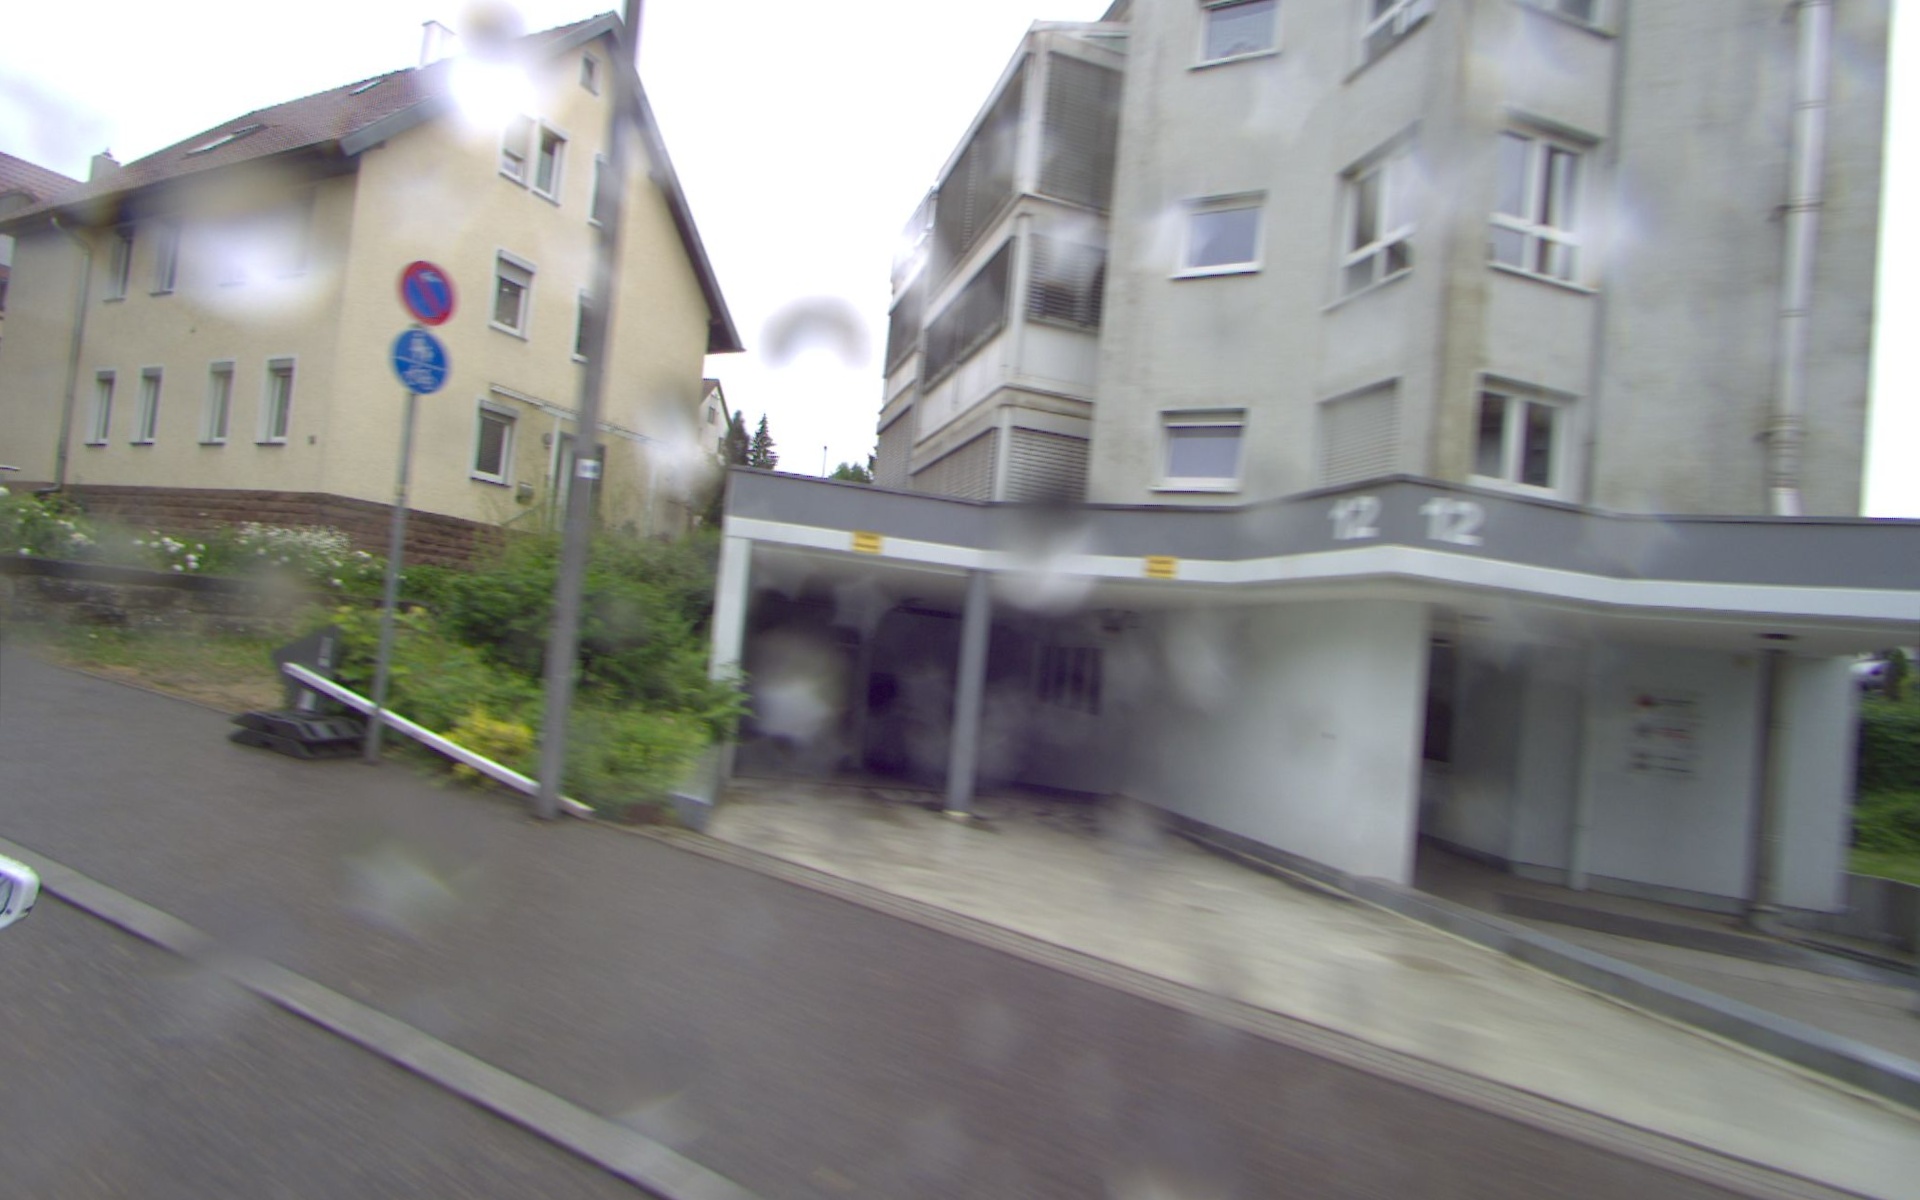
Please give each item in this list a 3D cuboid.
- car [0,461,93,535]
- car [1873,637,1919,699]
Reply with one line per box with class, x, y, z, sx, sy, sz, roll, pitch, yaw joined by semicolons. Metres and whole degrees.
car;-24.782;-2.735;25.416;1.928;1.674;3.859;7;1;25
car;35.215;2.558;35.439;3.926;2.037;2.002;5;-2;20
